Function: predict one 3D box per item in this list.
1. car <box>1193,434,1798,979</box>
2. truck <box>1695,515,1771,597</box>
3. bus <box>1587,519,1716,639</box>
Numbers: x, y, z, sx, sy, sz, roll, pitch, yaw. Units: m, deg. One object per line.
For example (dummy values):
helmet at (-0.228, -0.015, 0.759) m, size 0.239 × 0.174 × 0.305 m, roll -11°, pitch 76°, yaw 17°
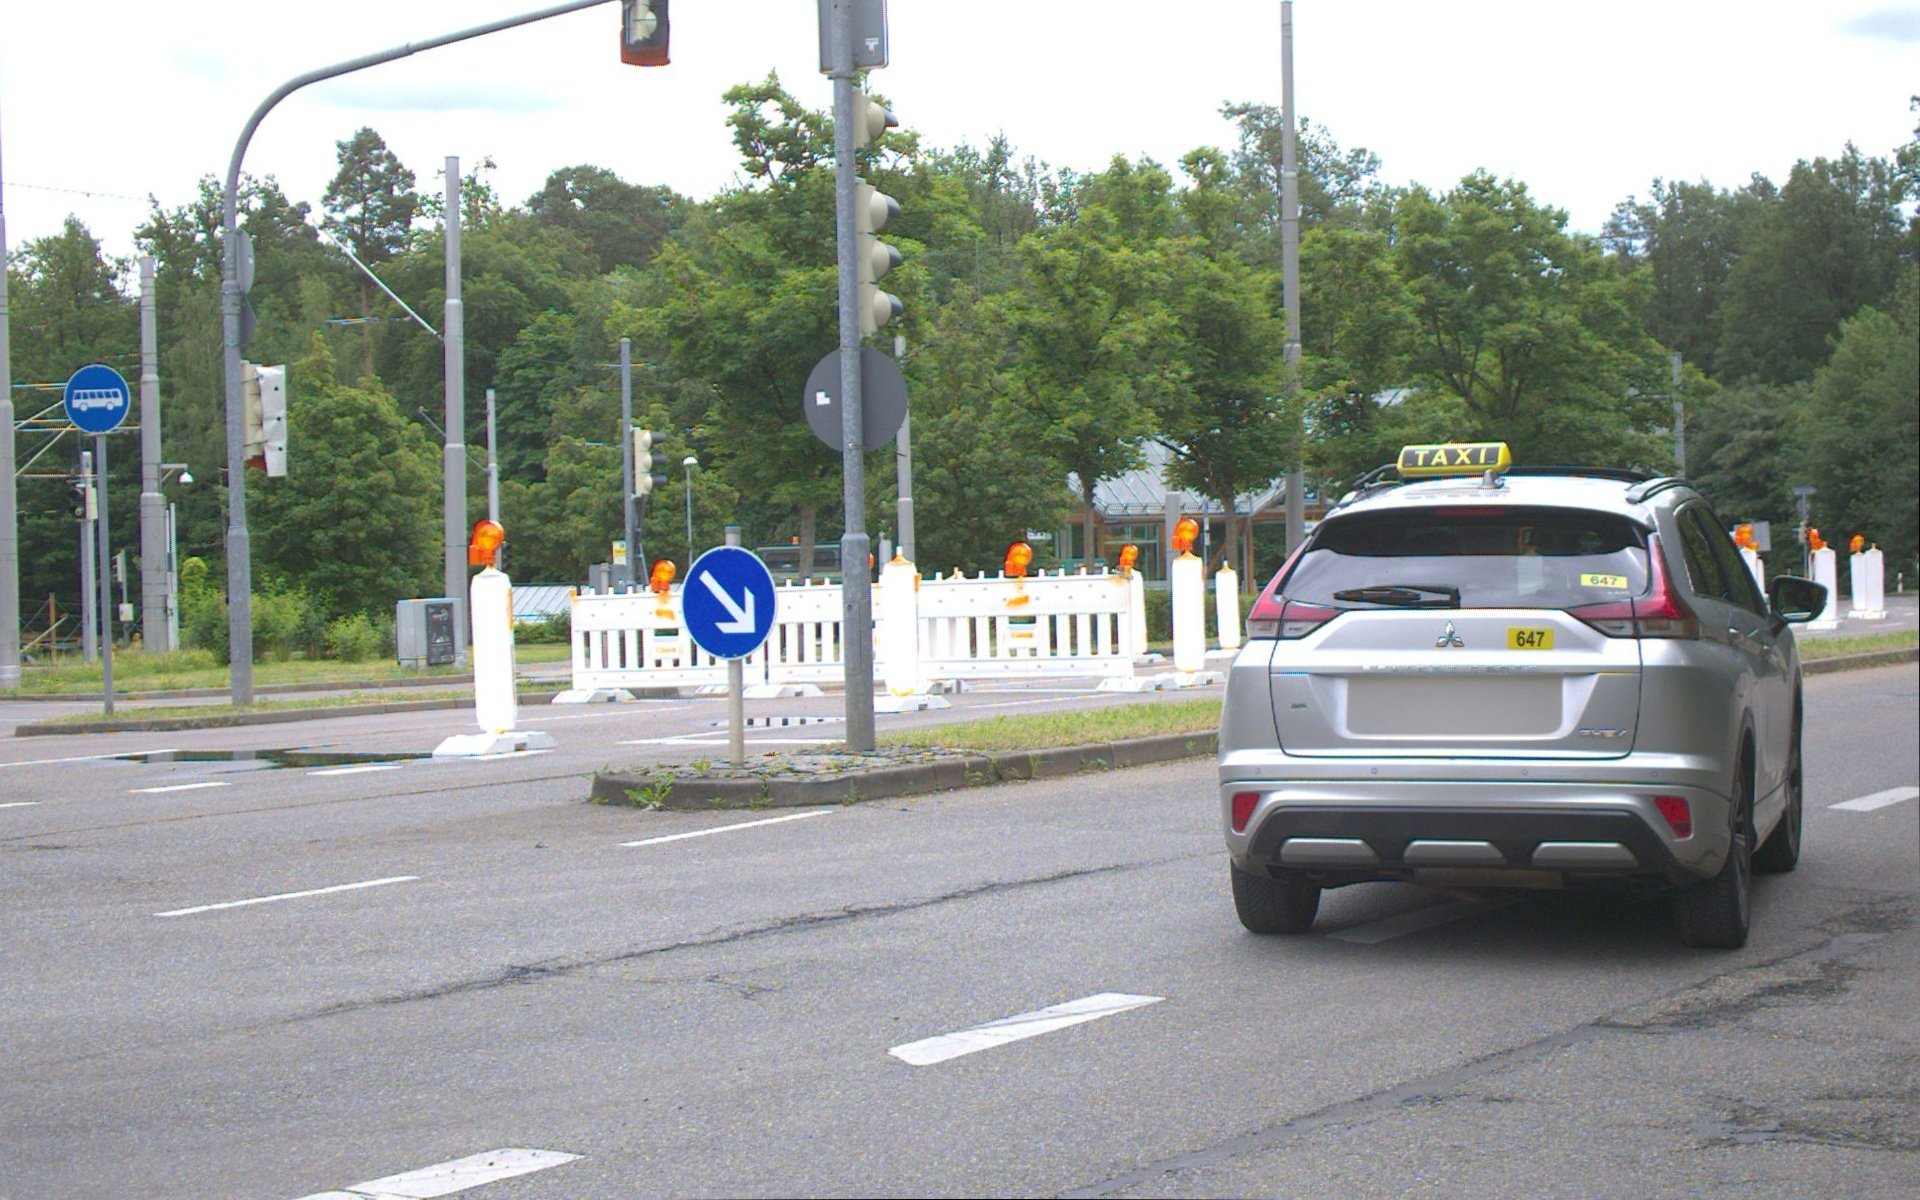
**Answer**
car at (2.170, 0.351, 13.060) m, size 1.775 × 1.742 × 3.777 m, roll 0°, pitch 0°, yaw 17°
truck at (32.619, -1.833, 145.330) m, size 2.484 × 3.275 × 8.516 m, roll -2°, pitch 0°, yaw 9°
bus at (22.275, -0.708, 111.361) m, size 2.822 × 3.591 × 12.801 m, roll -1°, pitch 0°, yaw 6°
